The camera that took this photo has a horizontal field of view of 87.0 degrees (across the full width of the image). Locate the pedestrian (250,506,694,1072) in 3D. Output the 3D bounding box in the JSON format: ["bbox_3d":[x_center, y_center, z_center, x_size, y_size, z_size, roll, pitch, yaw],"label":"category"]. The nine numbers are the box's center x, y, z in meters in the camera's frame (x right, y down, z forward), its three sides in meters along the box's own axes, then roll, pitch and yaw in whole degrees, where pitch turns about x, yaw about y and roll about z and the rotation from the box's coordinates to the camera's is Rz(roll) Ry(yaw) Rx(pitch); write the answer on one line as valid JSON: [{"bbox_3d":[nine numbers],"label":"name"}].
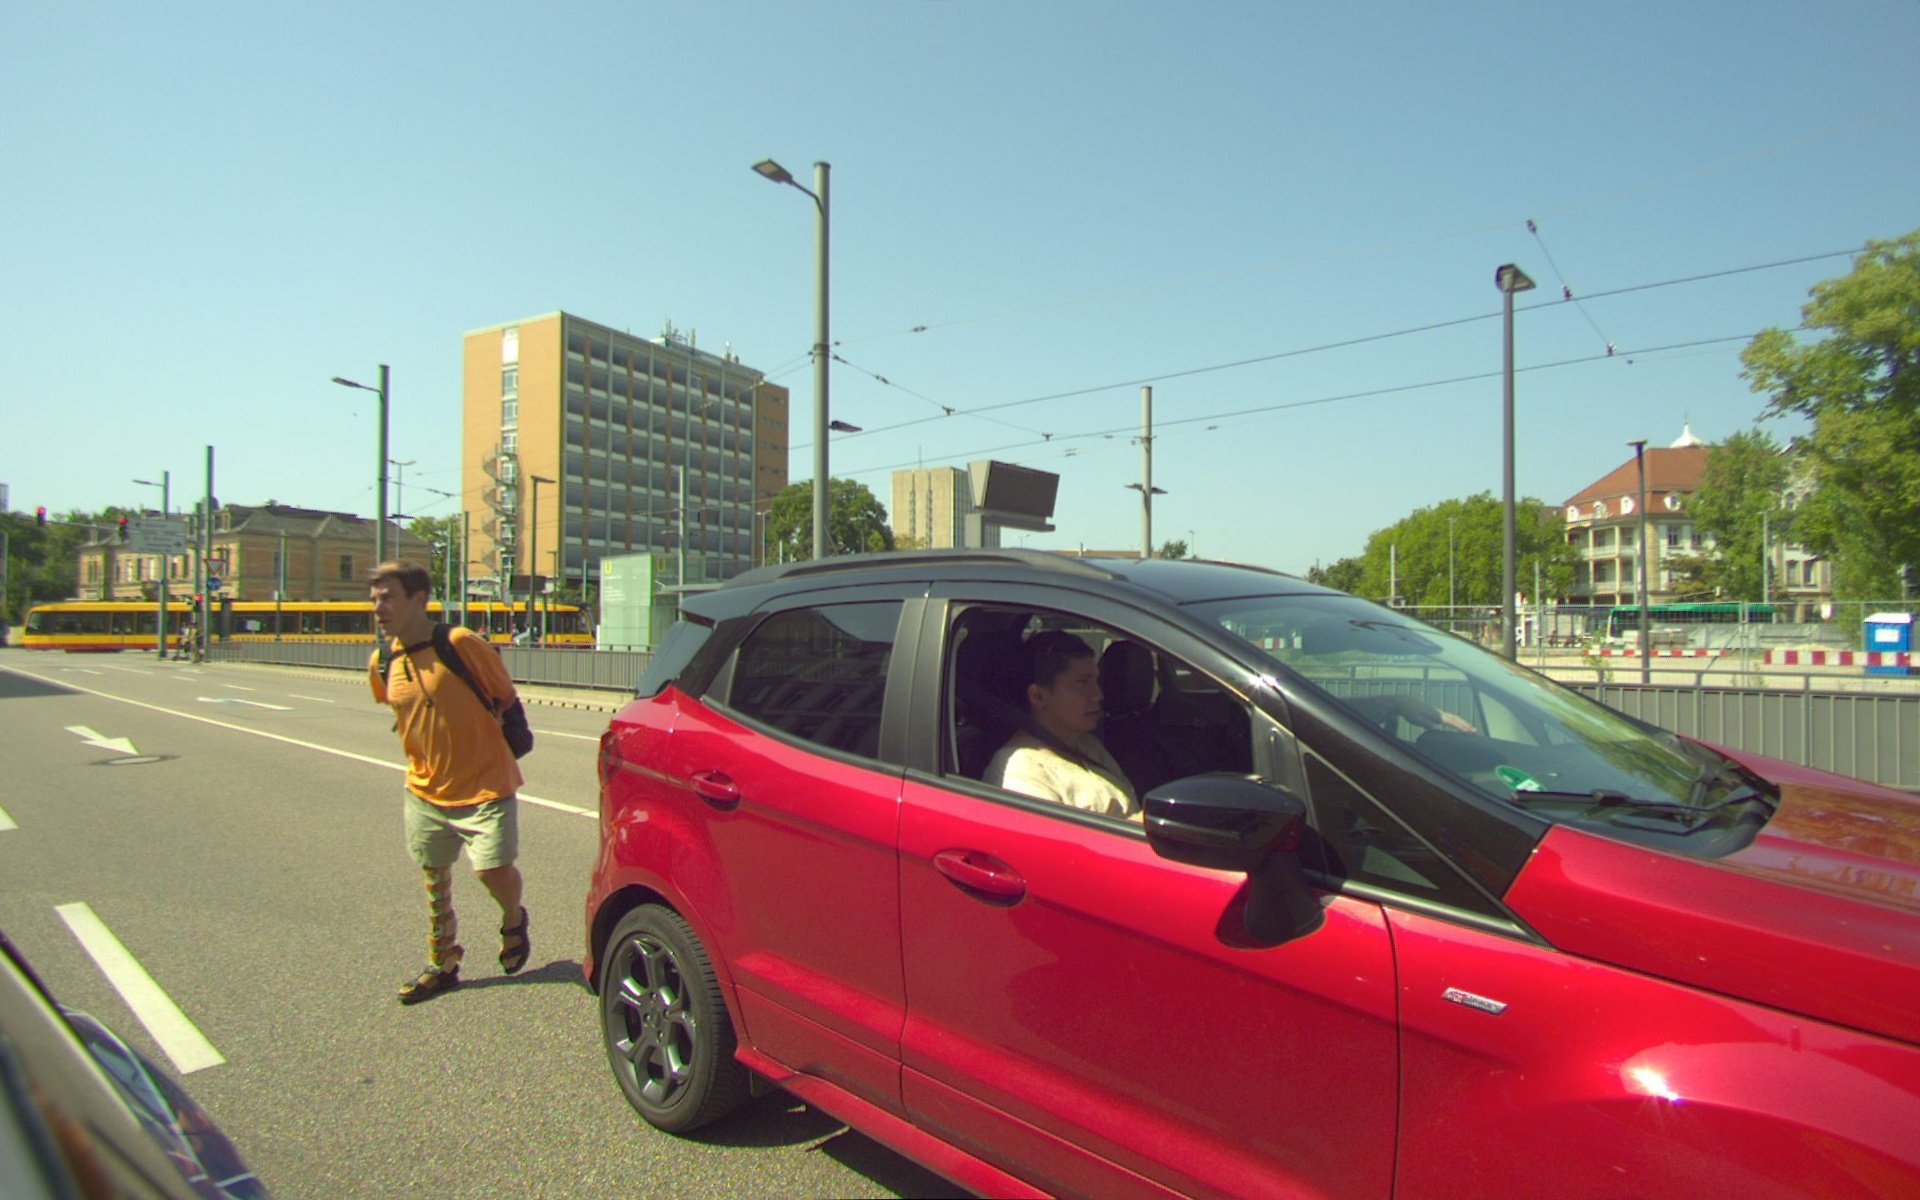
[{"bbox_3d":[-1.789,0.599,3.896,0.959,1.754,1.231,-1,-1,19],"label":"pedestrian"}]

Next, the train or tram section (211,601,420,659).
[{"bbox_3d":[-43.192,2.018,68.094,12.176,3.794,2.003,0,-2,-6],"label":"train or tram section"}]

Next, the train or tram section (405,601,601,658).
[{"bbox_3d":[-31.076,2.037,69.093,12.178,3.794,2.002,0,-2,-5],"label":"train or tram section"}]

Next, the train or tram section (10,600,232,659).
[{"bbox_3d":[-55.304,1.982,66.909,12.176,3.794,2.003,0,-2,-6],"label":"train or tram section"}]

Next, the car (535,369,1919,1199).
[{"bbox_3d":[0.646,0.598,2.484,3.967,1.633,1.612,-1,-1,43],"label":"car"}]

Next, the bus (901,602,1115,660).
[{"bbox_3d":[2.947,1.914,64.418,13.205,3.319,3.354,-1,-1,-4],"label":"bus"}]
